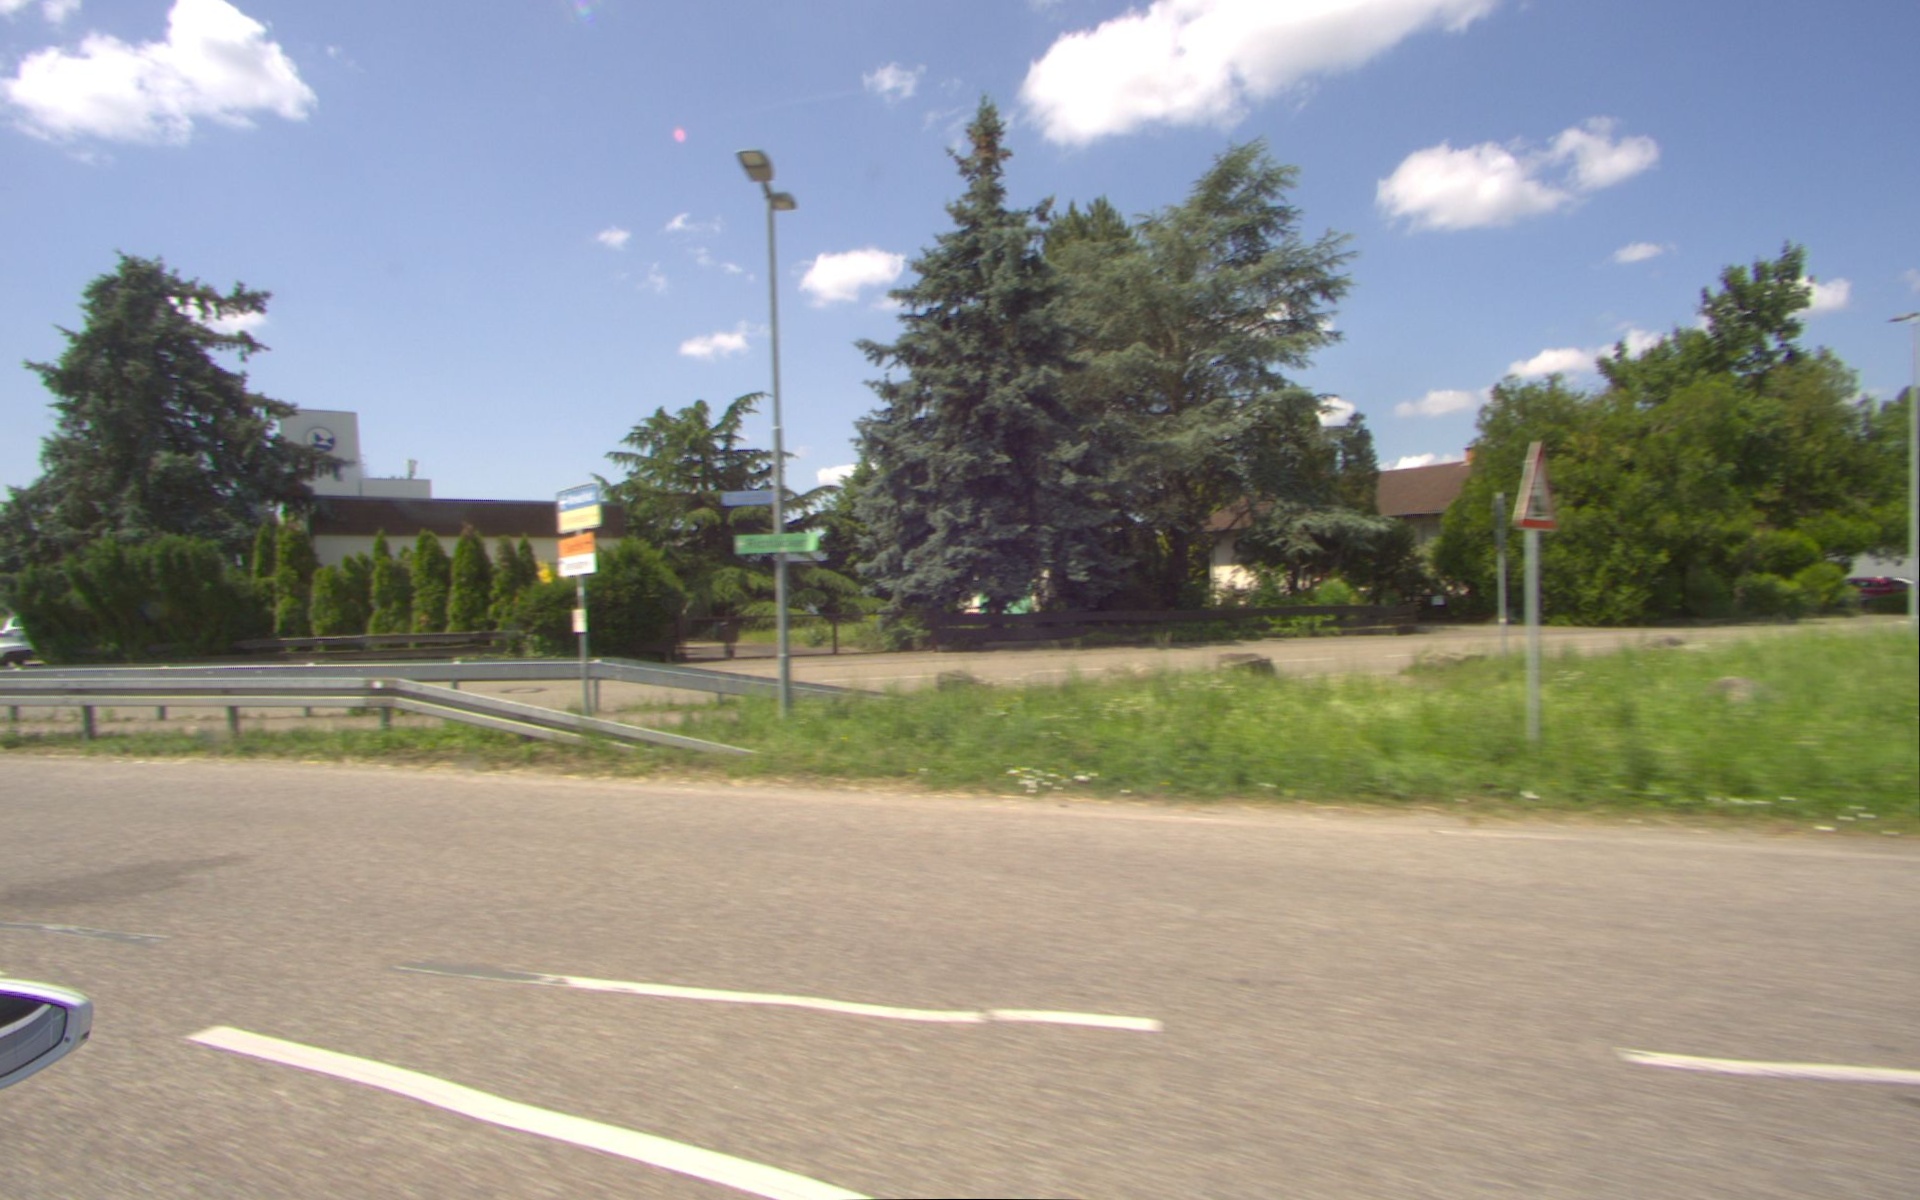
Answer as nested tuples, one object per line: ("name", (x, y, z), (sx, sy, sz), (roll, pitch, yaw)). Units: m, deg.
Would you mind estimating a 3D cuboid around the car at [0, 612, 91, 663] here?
("car", (-30.468, 1.190, 33.243), (1.975, 1.530, 4.422), (-2, 1, -36))
